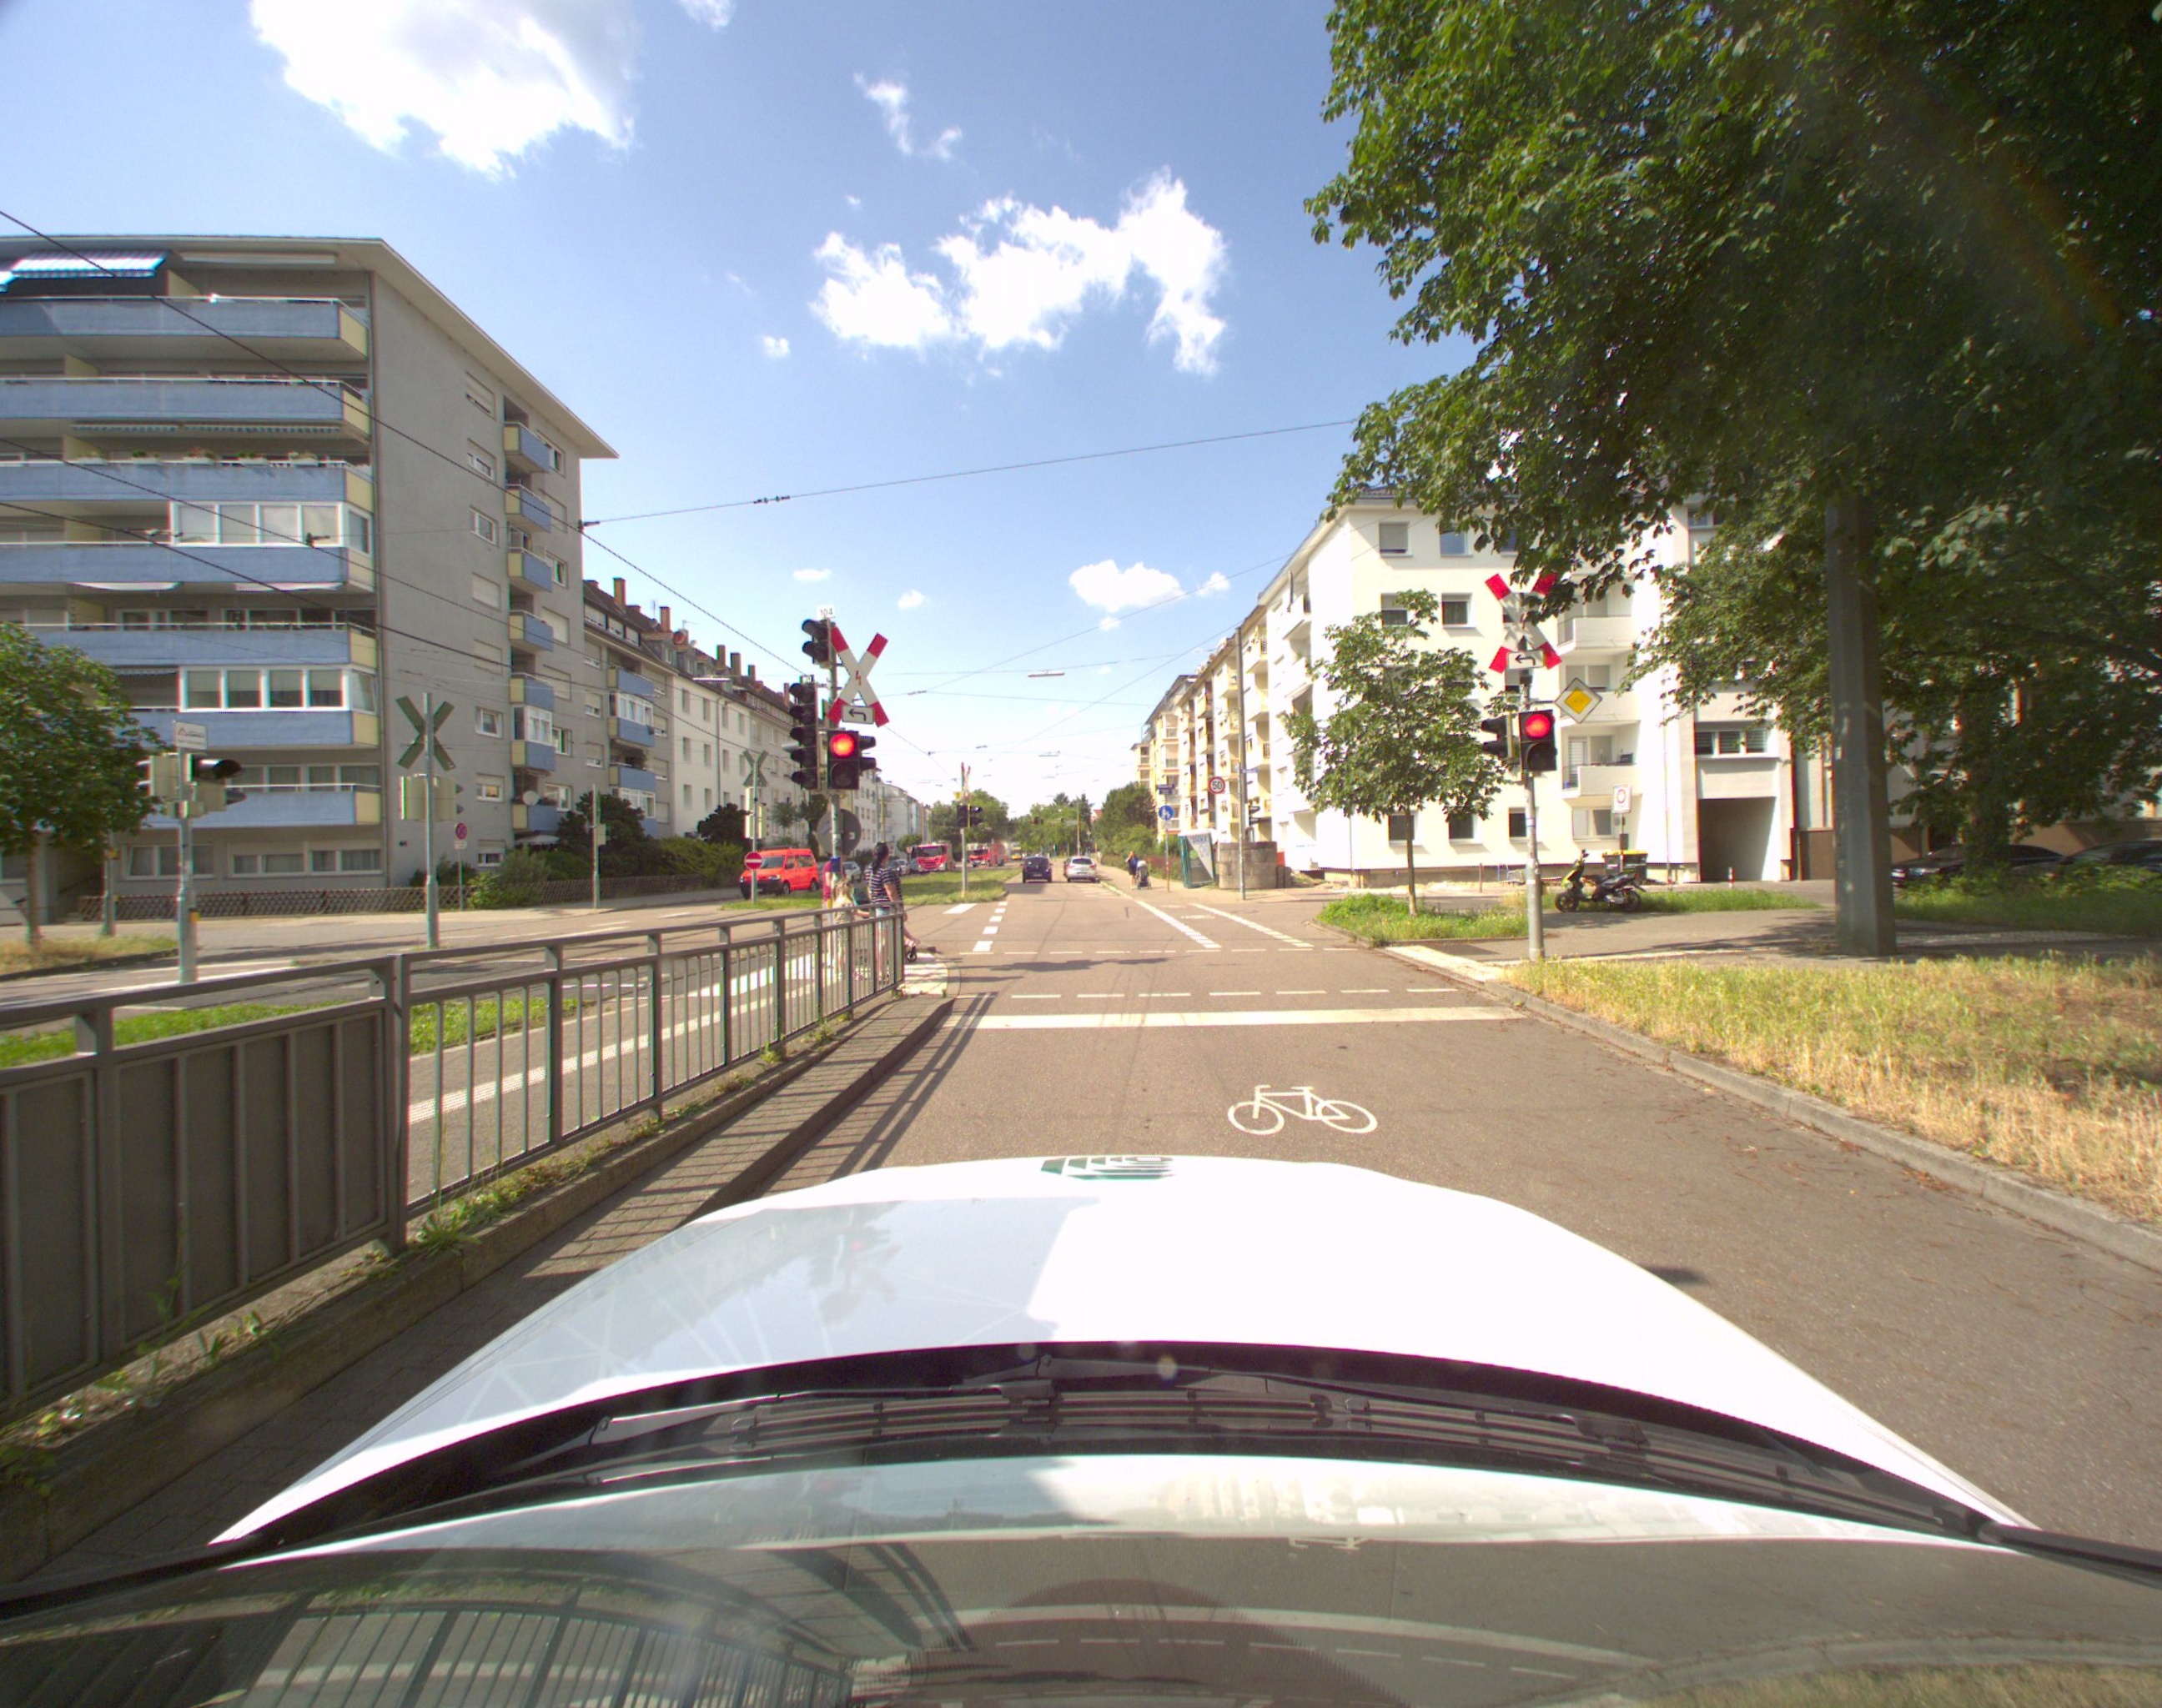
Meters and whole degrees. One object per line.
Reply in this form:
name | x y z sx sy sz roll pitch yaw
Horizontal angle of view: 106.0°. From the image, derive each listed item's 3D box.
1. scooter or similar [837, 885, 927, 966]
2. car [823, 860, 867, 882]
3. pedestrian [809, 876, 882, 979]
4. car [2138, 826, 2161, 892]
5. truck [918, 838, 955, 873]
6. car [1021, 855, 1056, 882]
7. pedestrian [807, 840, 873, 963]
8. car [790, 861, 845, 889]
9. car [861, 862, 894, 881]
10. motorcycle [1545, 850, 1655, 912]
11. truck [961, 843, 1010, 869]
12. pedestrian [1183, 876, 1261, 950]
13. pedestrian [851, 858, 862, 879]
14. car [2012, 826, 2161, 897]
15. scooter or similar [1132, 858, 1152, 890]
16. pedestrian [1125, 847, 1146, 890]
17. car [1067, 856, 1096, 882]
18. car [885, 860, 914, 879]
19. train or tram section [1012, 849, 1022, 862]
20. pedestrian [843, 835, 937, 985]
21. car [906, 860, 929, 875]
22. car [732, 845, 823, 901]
scooter or similar | -2.740 0.975 11.293 1.097 1.056 0.650 0 -1 -2
car | -15.904 1.107 55.064 1.762 1.442 3.999 0 0 0
pedestrian | -2.904 0.873 10.021 0.641 1.180 0.790 -1 -1 -32
car | 26.029 0.098 17.520 1.794 1.539 4.013 -2 0 11
truck | -14.035 0.195 79.427 2.591 3.186 8.370 -1 0 -4
car | -2.458 0.848 47.761 1.738 1.507 4.000 0 0 1
pedestrian | -3.333 0.646 11.297 0.703 1.648 0.636 1 -1 -1
car | -15.781 1.232 49.043 1.987 1.645 3.999 0 0 0
car | -16.194 1.354 65.041 1.763 1.442 3.997 0 0 -2
motorcycle | 11.040 0.578 17.392 0.574 1.215 1.829 -6 1 -30
truck | -13.144 0.352 113.599 2.645 3.470 10.215 0 -1 18
pedestrian | 4.252 1.733 25.077 1.984 2.014 4.004 0 -1 4
pedestrian | -18.809 1.208 68.250 0.704 1.794 0.863 -2 0 -5
car | 23.222 0.136 17.565 1.733 1.459 4.001 -2 0 1
scooter or similar | 2.586 0.843 34.510 0.660 1.303 0.868 -5 0 -1
pedestrian | 2.356 0.614 35.352 0.699 1.789 1.029 -4 0 -2
car | 0.016 0.862 48.475 1.617 1.465 3.509 0 0 -1
car | -16.891 1.413 75.960 1.988 1.711 3.997 0 0 -2
train or tram section | -16.068 0.340 205.429 2.254 3.069 8.122 -2 0 -4
pedestrian | -2.272 0.626 9.649 0.851 1.667 0.791 -1 -1 -30
car | -17.235 1.401 86.034 1.772 1.557 3.995 0 0 -3
car | -13.560 0.799 36.724 1.985 2.275 4.838 -2 0 3
